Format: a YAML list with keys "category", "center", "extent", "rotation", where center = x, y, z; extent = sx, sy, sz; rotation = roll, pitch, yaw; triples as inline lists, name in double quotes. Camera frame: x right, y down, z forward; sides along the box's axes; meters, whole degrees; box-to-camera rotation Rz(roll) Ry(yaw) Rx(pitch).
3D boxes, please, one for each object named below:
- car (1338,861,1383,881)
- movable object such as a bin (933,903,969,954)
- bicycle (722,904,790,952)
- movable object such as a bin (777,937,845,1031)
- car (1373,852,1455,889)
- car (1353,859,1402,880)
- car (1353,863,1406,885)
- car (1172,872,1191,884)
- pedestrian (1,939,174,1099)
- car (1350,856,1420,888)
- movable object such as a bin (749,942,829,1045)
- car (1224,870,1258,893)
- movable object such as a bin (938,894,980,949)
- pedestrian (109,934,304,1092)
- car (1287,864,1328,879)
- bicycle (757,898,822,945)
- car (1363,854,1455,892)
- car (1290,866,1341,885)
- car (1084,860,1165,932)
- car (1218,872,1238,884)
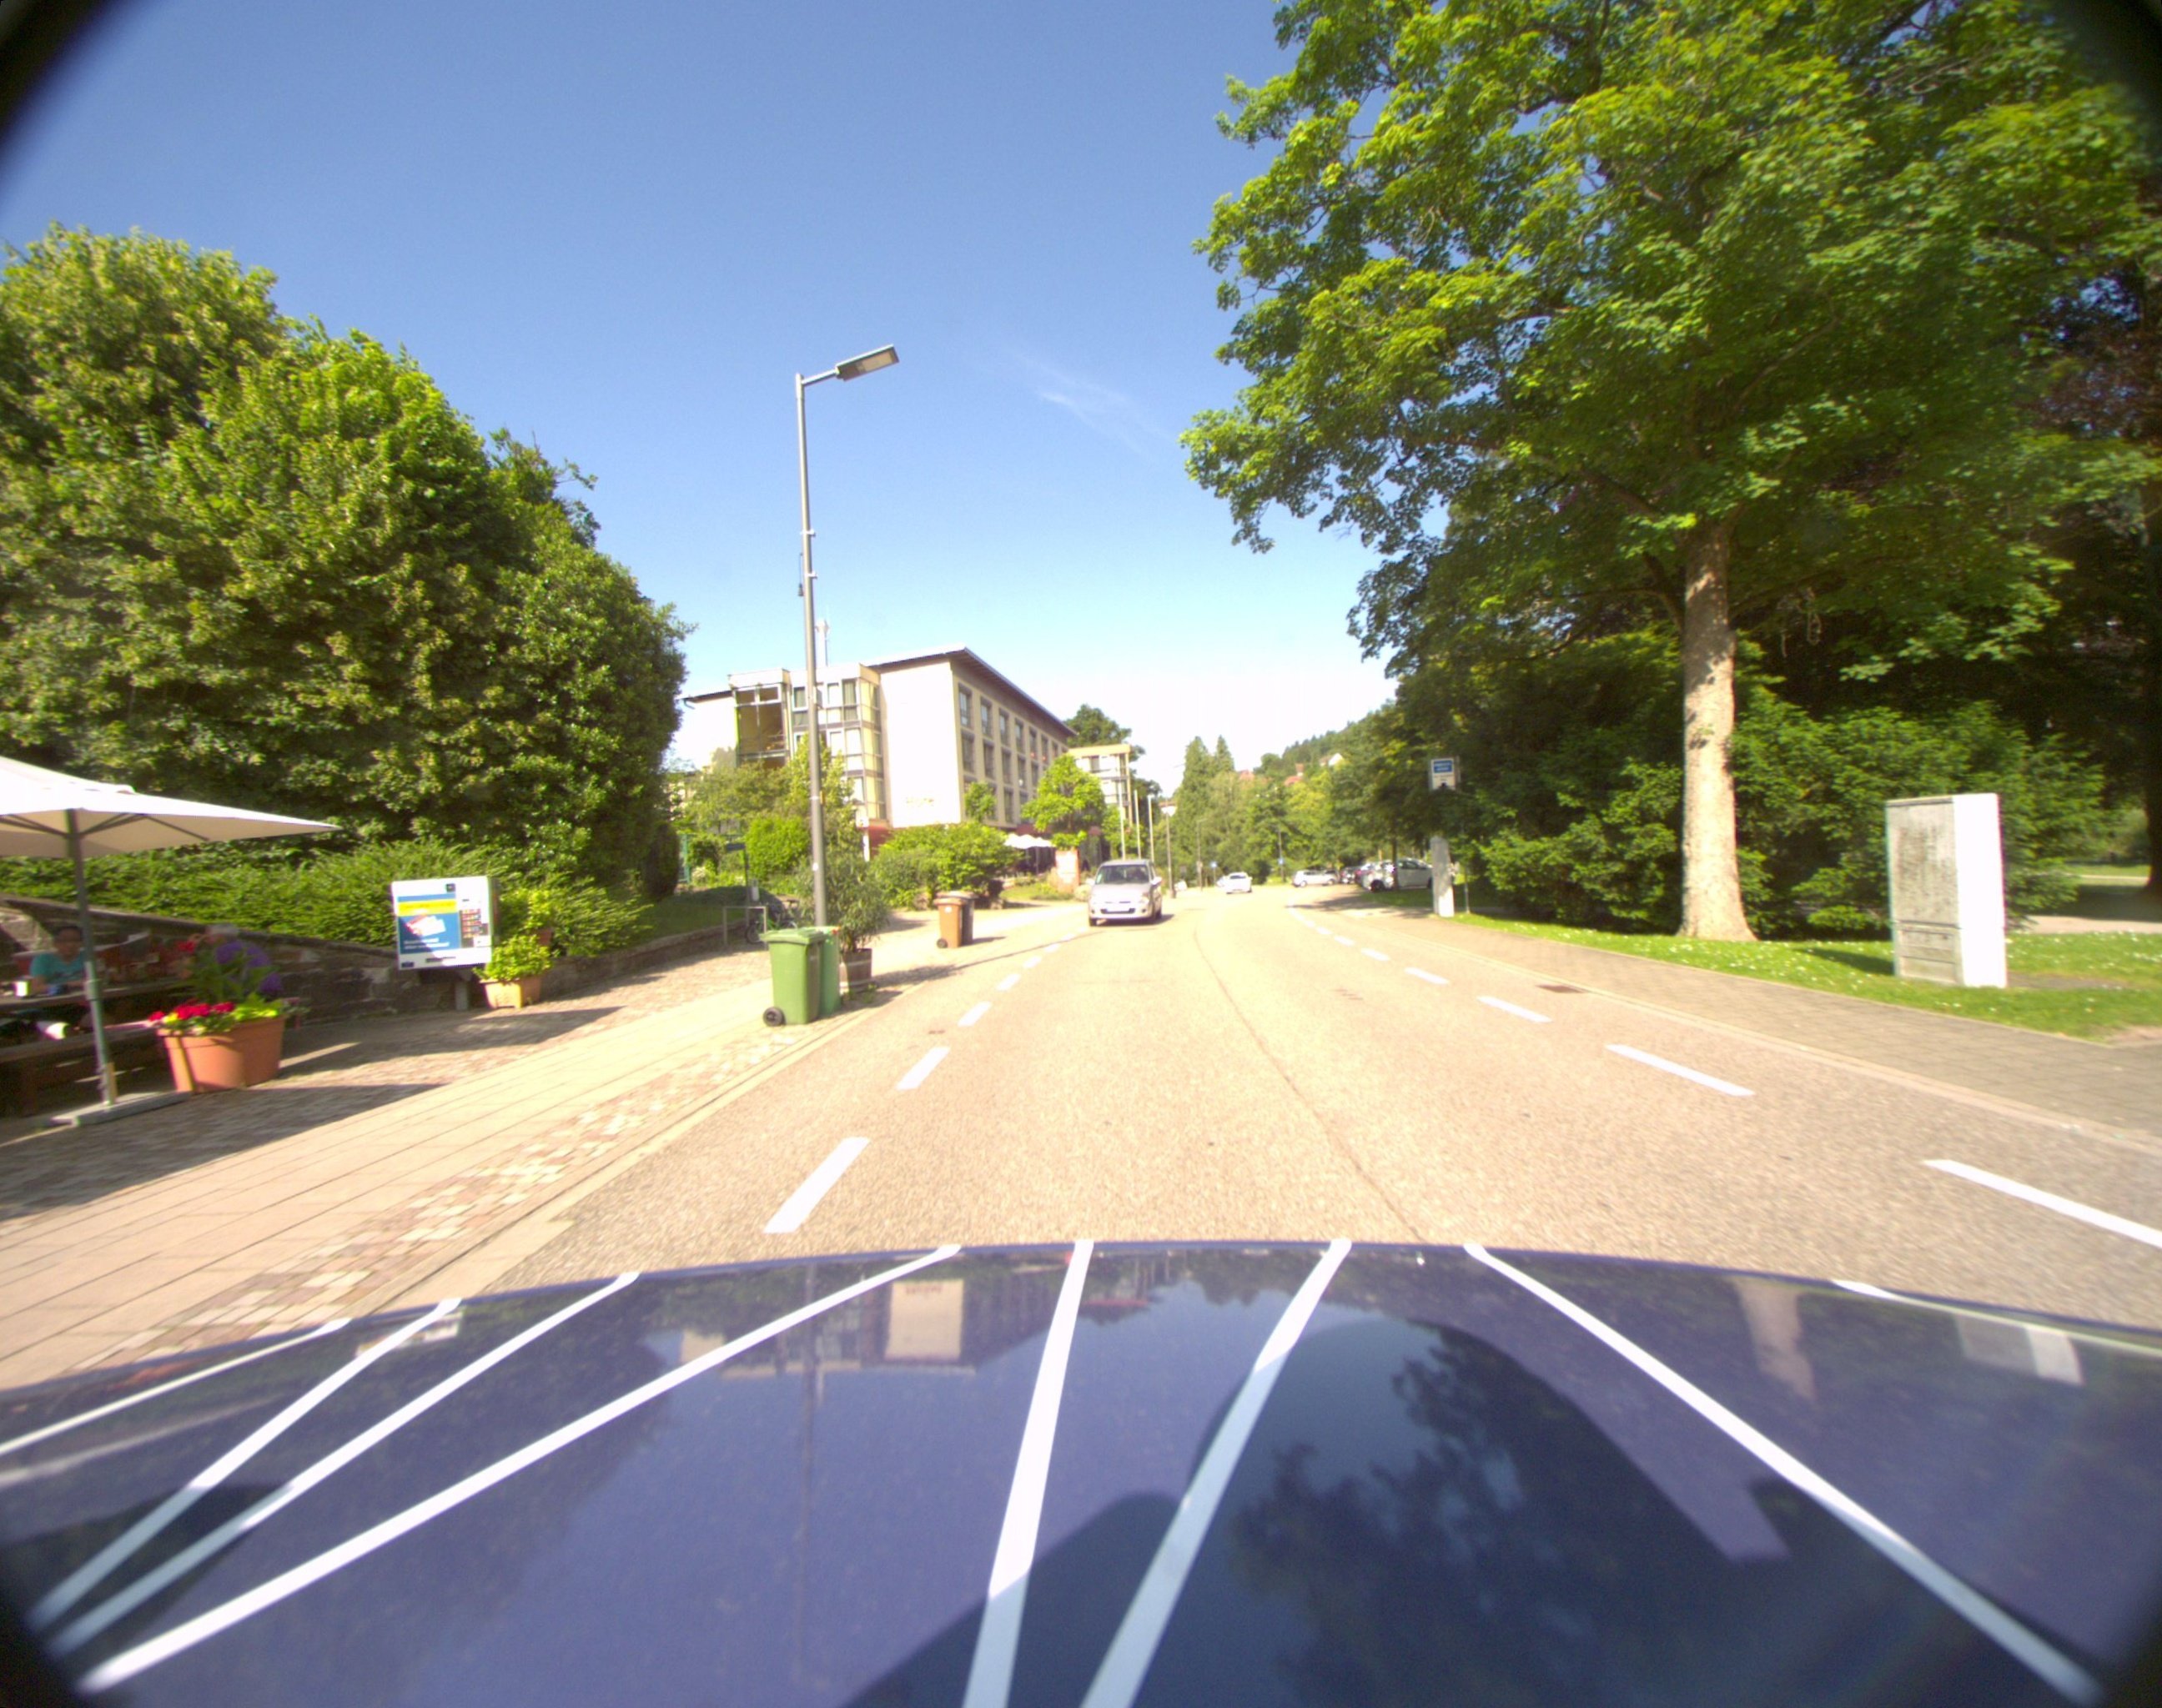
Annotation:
- category: "car"
  center: [23.665, 1.451, 64.386]
  extent: [3.486, 1.417, 1.556]
  rotation: [-5, -2, 19]
- category: "movable object such as a bin"
  center: [-2.449, 1.405, 14.359]
  extent: [0.526, 0.906, 0.563]
  rotation: [-2, 0, 6]
- category: "bicycle"
  center: [-6.745, 1.521, 15.773]
  extent: [1.544, 0.904, 0.385]
  rotation: [0, 0, 26]
- category: "movable object such as a bin"
  center: [-2.848, 1.363, 8.031]
  extent: [0.515, 0.907, 0.442]
  rotation: [-2, 0, 3]
- category: "car"
  center: [16.218, 0.833, 37.136]
  extent: [3.486, 1.542, 1.382]
  rotation: [-5, -2, 19]
- category: "car"
  center: [23.996, 1.270, 61.584]
  extent: [3.486, 1.417, 1.556]
  rotation: [-5, -2, 19]
- category: "car"
  center: [21.745, 1.442, 55.492]
  extent: [3.486, 1.293, 1.556]
  rotation: [-5, -2, 19]
- category: "car"
  center: [13.011, 3.138, 98.644]
  extent: [1.740, 1.389, 3.998]
  rotation: [-3, 0, -4]
- category: "pedestrian"
  center: [-8.920, 1.448, 6.853]
  extent: [0.649, 1.276, 0.645]
  rotation: [-2, 0, -9]
- category: "car"
  center: [16.880, 1.007, 42.330]
  extent: [3.486, 1.535, 1.446]
  rotation: [-5, -2, 19]
- category: "movable object such as a bin"
  center: [-2.881, 1.362, 7.525]
  extent: [0.549, 0.920, 0.520]
  rotation: [-2, 0, 3]
- category: "car"
  center: [11.439, 1.940, 54.185]
  extent: [1.738, 1.488, 3.936]
  rotation: [-2, -1, 21]
- category: "movable object such as a bin"
  center: [-2.394, 1.324, 14.931]
  extent: [0.657, 1.026, 0.572]
  rotation: [-2, 0, 6]
- category: "pedestrian"
  center: [-7.981, 1.420, 6.976]
  extent: [0.951, 1.276, 0.645]
  rotation: [-2, 0, -9]
- category: "car"
  center: [25.492, 1.954, 85.500]
  extent: [3.999, 1.468, 1.516]
  rotation: [-3, -2, -5]
- category: "bicycle"
  center: [-6.444, 1.468, 16.789]
  extent: [1.544, 0.977, 0.385]
  rotation: [-1, 0, 26]
- category: "car"
  center: [14.987, 0.875, 34.860]
  extent: [3.682, 1.478, 1.568]
  rotation: [-5, -2, 19]
- category: "car"
  center: [21.063, 1.915, 68.428]
  extent: [3.997, 1.388, 1.517]
  rotation: [-5, -2, 0]
- category: "car"
  center: [1.217, 0.997, 19.667]
  extent: [1.603, 1.628, 4.003]
  rotation: [-2, 0, 9]
- category: "car"
  center: [19.129, 3.128, 99.009]
  extent: [1.775, 1.495, 4.001]
  rotation: [-2, -2, 0]
